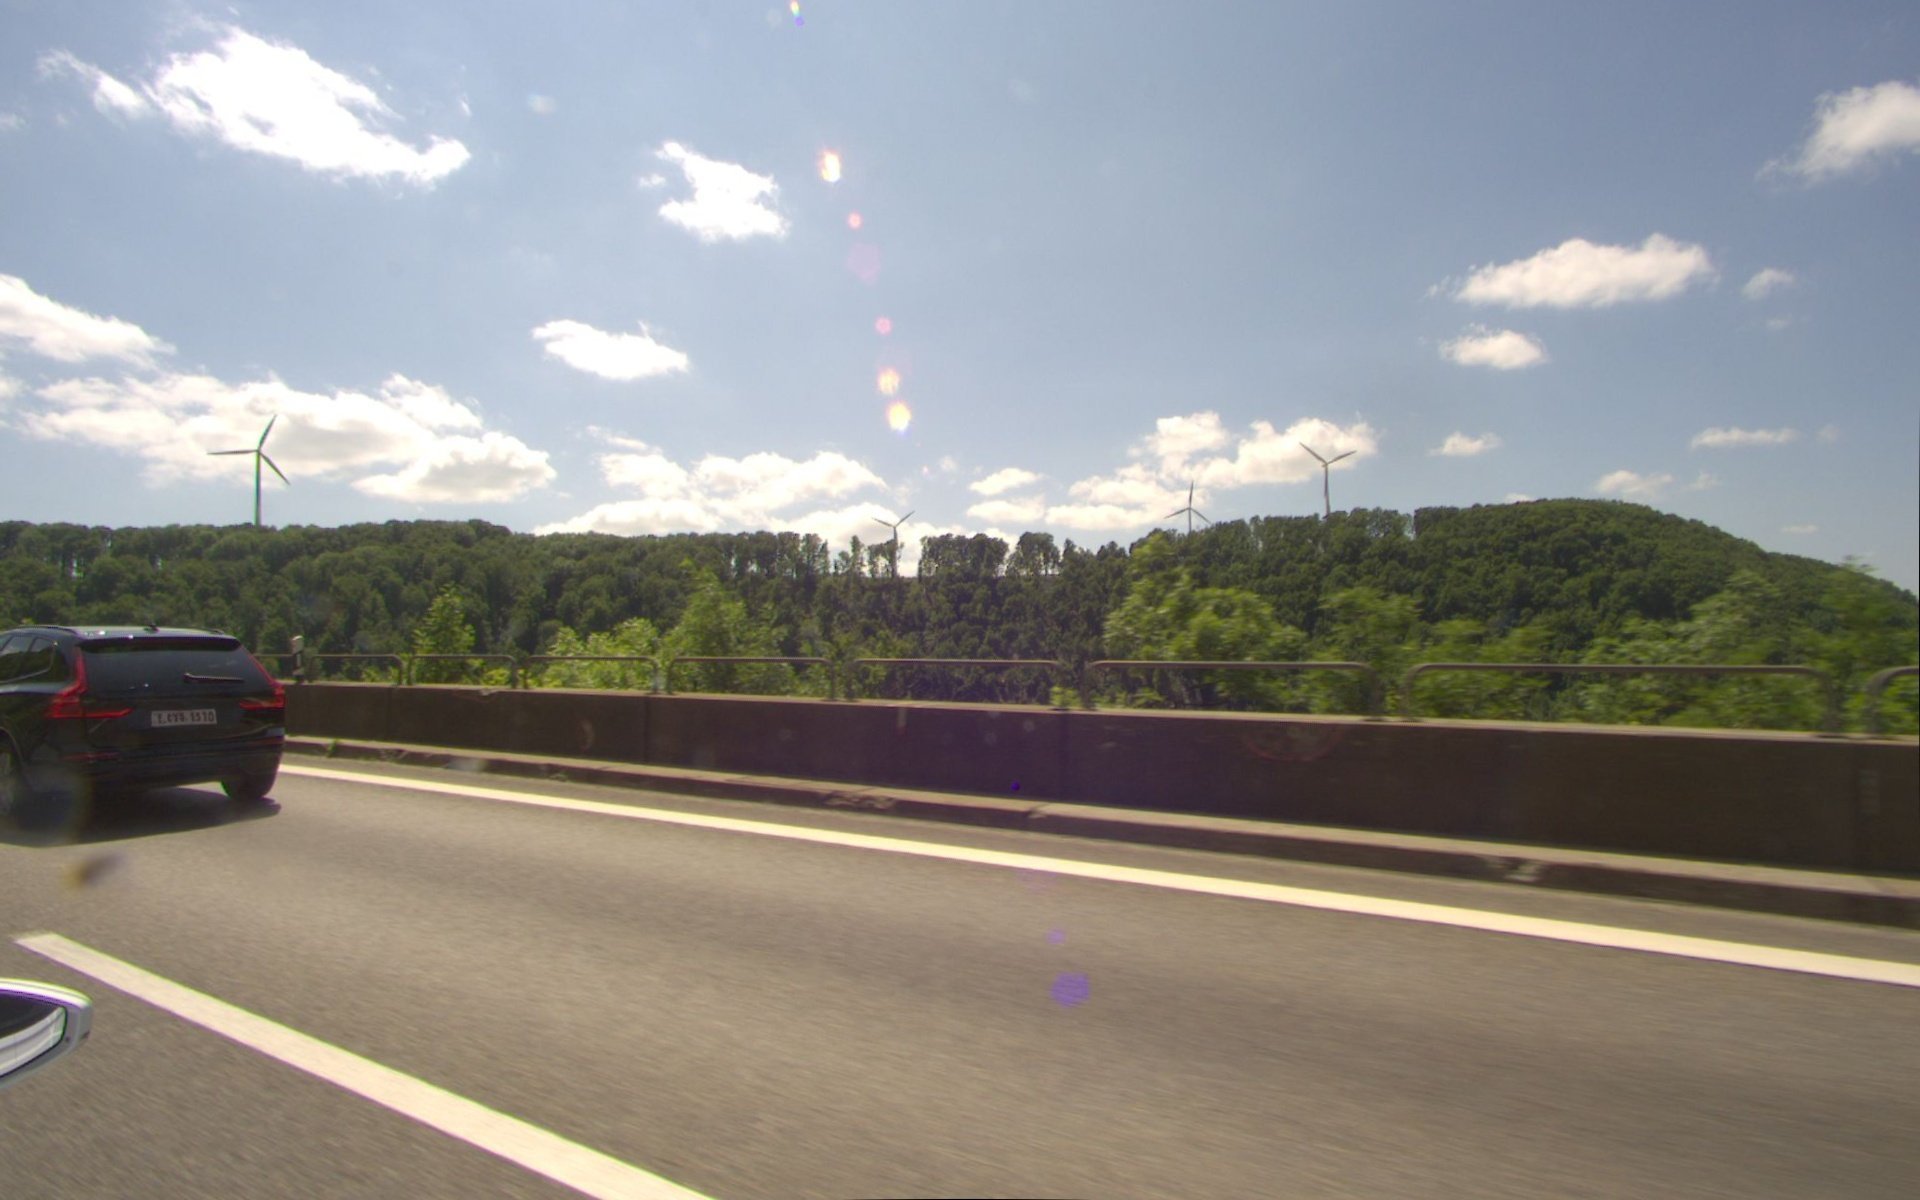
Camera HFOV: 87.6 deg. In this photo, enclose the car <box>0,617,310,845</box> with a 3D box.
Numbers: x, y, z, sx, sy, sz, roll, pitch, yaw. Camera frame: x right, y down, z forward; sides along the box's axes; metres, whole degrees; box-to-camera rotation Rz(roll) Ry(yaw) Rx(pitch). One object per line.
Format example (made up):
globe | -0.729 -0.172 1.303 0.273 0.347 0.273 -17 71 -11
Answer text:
car | -8.310 1.012 9.455 4.593 1.655 1.832 0 0 31
